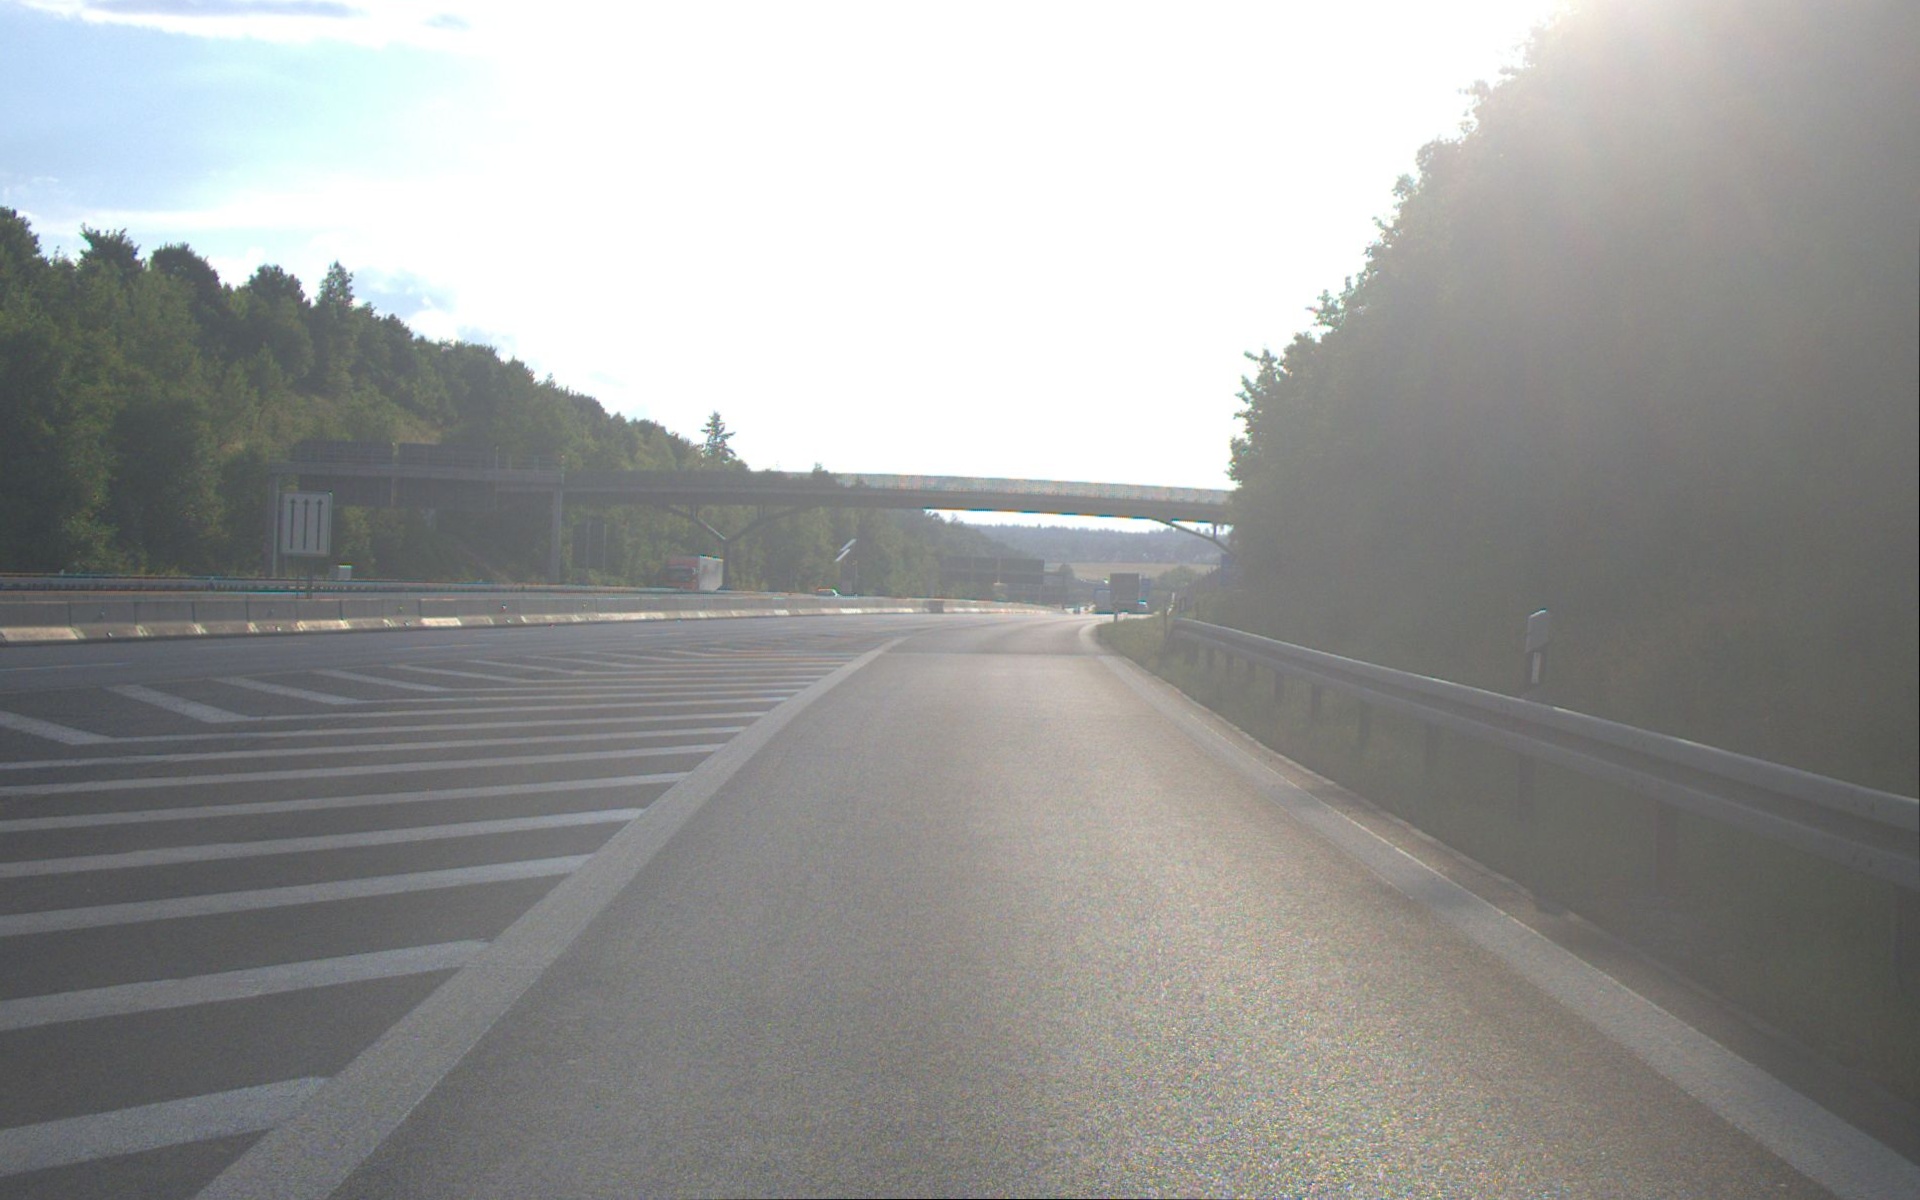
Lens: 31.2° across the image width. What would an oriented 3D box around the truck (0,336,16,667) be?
[{"bbox_3d":[-13.129,-1.102,35.038,2.921,3.776,9.661,1,1,9],"label":"truck"}]
